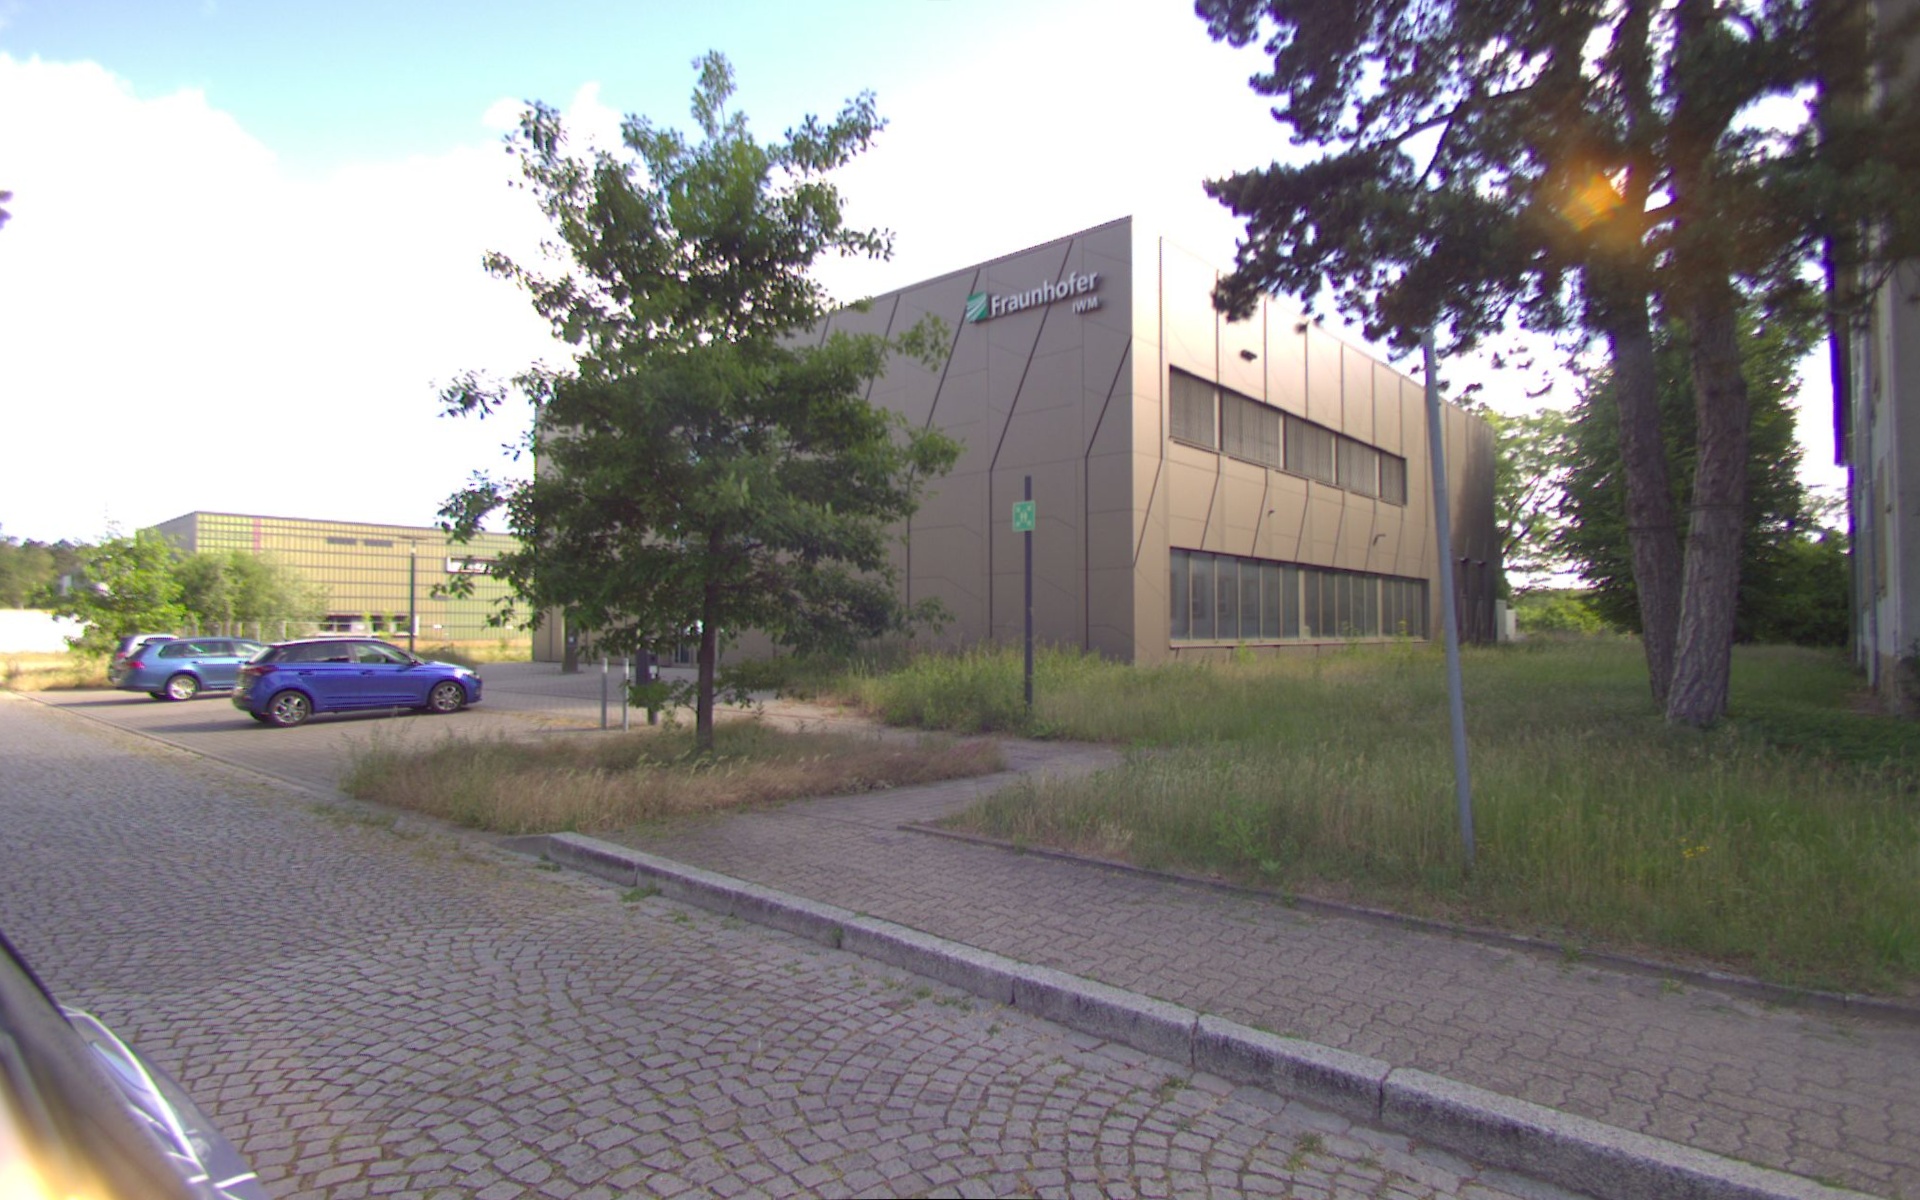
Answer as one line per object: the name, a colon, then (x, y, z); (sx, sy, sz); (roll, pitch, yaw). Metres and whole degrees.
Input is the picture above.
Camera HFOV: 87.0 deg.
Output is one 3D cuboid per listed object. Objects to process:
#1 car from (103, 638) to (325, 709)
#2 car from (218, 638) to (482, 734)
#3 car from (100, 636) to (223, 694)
car: (-18.267, 1.730, 24.940); (1.733, 1.485, 4.127); (-2, -1, 39)
car: (-11.149, 1.493, 18.669); (1.735, 1.479, 3.865); (-2, -2, 44)
car: (-23.620, 1.891, 29.979); (1.480, 1.580, 2.619); (-2, -1, 40)
